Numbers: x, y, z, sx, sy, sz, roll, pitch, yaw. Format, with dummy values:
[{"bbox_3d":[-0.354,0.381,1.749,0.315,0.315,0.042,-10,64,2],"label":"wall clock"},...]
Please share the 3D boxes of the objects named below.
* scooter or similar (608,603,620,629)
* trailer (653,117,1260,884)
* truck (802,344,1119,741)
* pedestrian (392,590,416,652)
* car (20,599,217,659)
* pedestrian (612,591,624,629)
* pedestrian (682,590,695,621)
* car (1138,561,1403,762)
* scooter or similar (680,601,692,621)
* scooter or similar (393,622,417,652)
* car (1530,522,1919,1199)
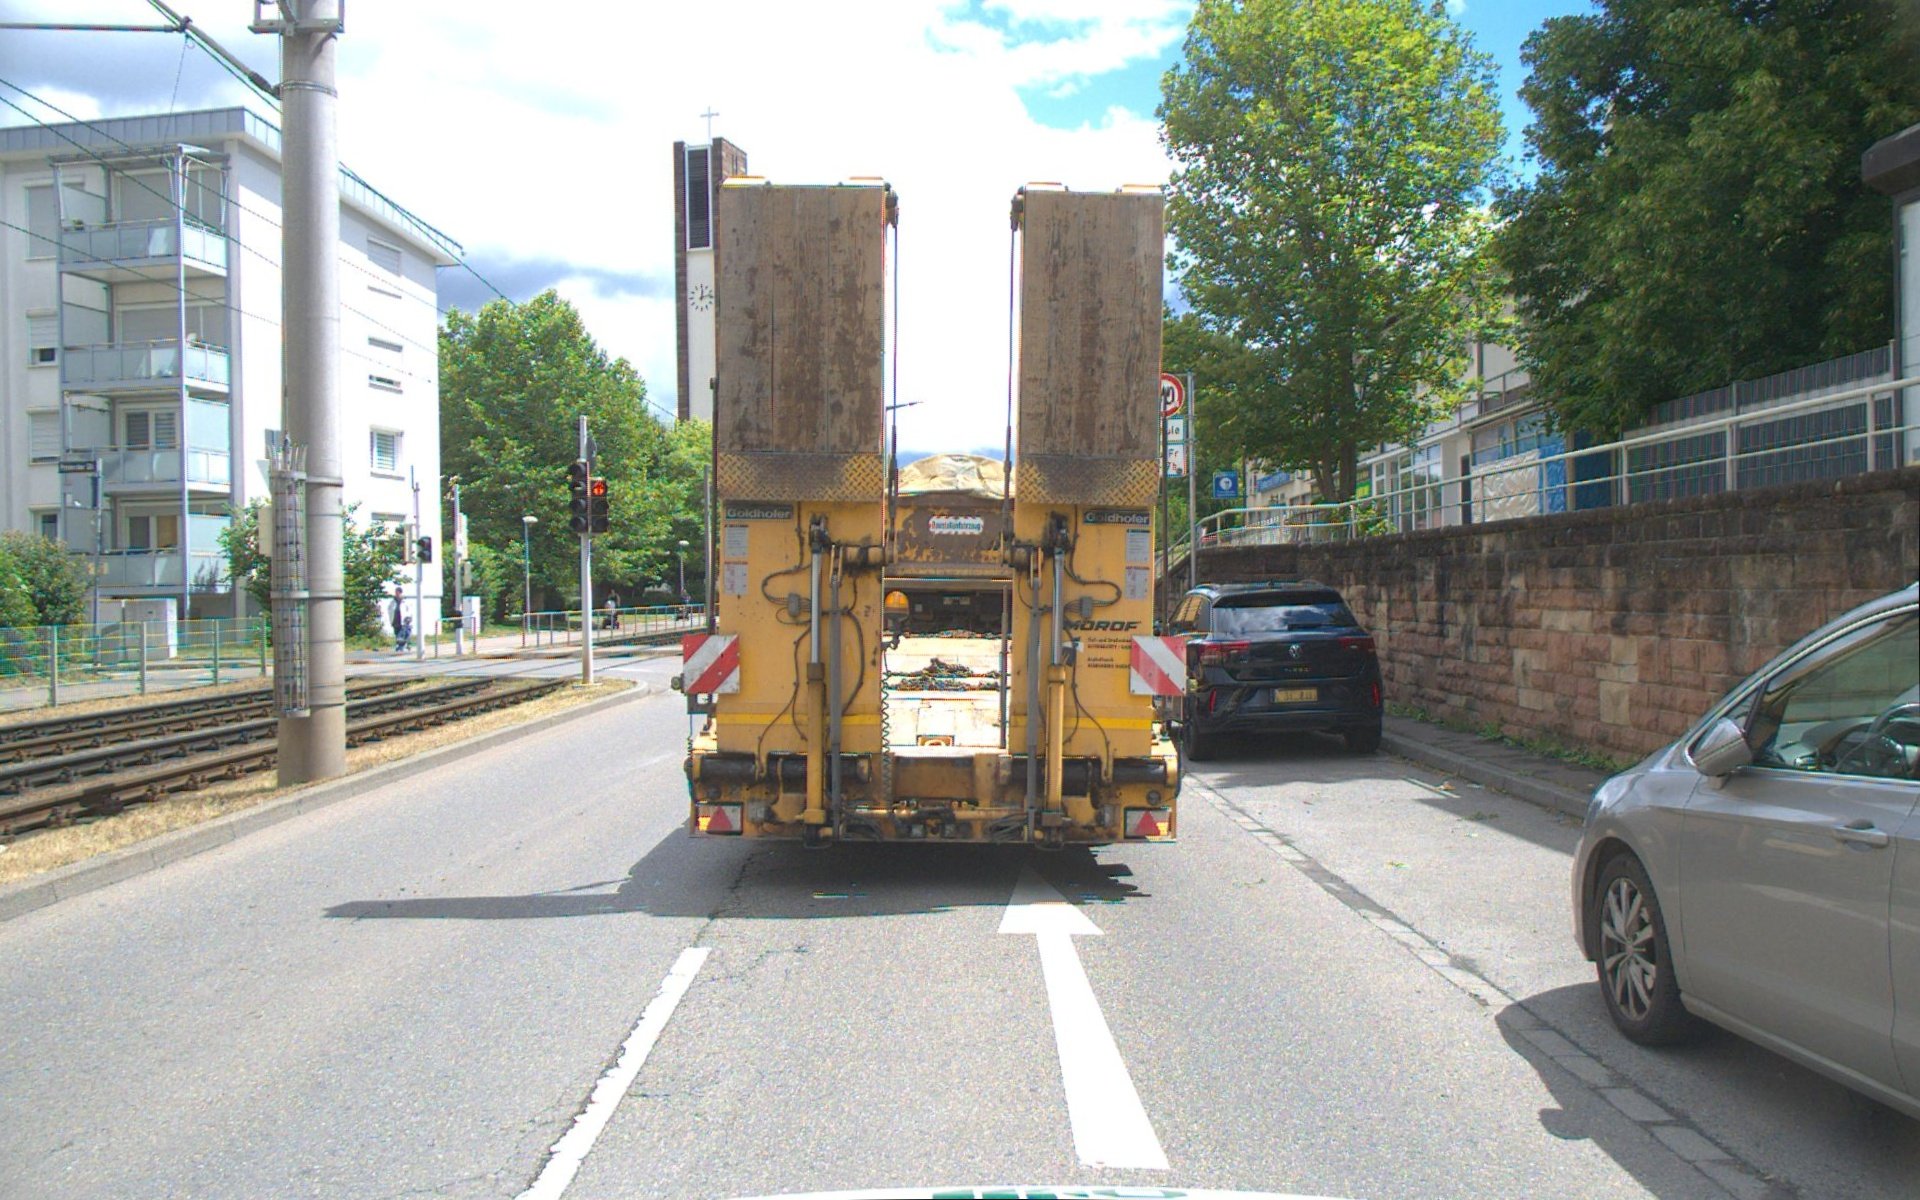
[{"bbox_3d":[-14.244,0.648,68.158,0.331,1.076,0.688,-1,0,2],"label":"scooter or similar"},{"bbox_3d":[-0.005,-0.512,12.326,2.885,3.664,8.683,-1,0,0],"label":"trailer"},{"bbox_3d":[-0.004,-0.547,17.739,2.882,3.635,4.876,-1,0,0],"label":"truck"},{"bbox_3d":[-14.540,0.536,43.269,0.428,1.608,0.475,-1,0,4],"label":"pedestrian"},{"bbox_3d":[-20.616,0.699,40.614,3.902,1.369,1.903,-1,0,7],"label":"car"},{"bbox_3d":[-14.225,0.416,68.815,0.341,1.564,0.557,-1,0,3],"label":"pedestrian"},{"bbox_3d":[-14.029,0.284,85.483,0.552,1.540,0.645,1,0,-2],"label":"pedestrian"},{"bbox_3d":[2.890,0.519,16.250,1.813,1.668,4.000,-2,0,0],"label":"car"},{"bbox_3d":[-14.041,0.557,84.830,0.495,0.988,0.645,1,0,-2],"label":"scooter or similar"},{"bbox_3d":[-14.357,0.960,42.771,0.428,0.760,0.475,-1,0,4],"label":"scooter or similar"},{"bbox_3d":[3.143,0.608,4.245,1.754,1.646,4.247,-2,0,-2],"label":"car"}]
